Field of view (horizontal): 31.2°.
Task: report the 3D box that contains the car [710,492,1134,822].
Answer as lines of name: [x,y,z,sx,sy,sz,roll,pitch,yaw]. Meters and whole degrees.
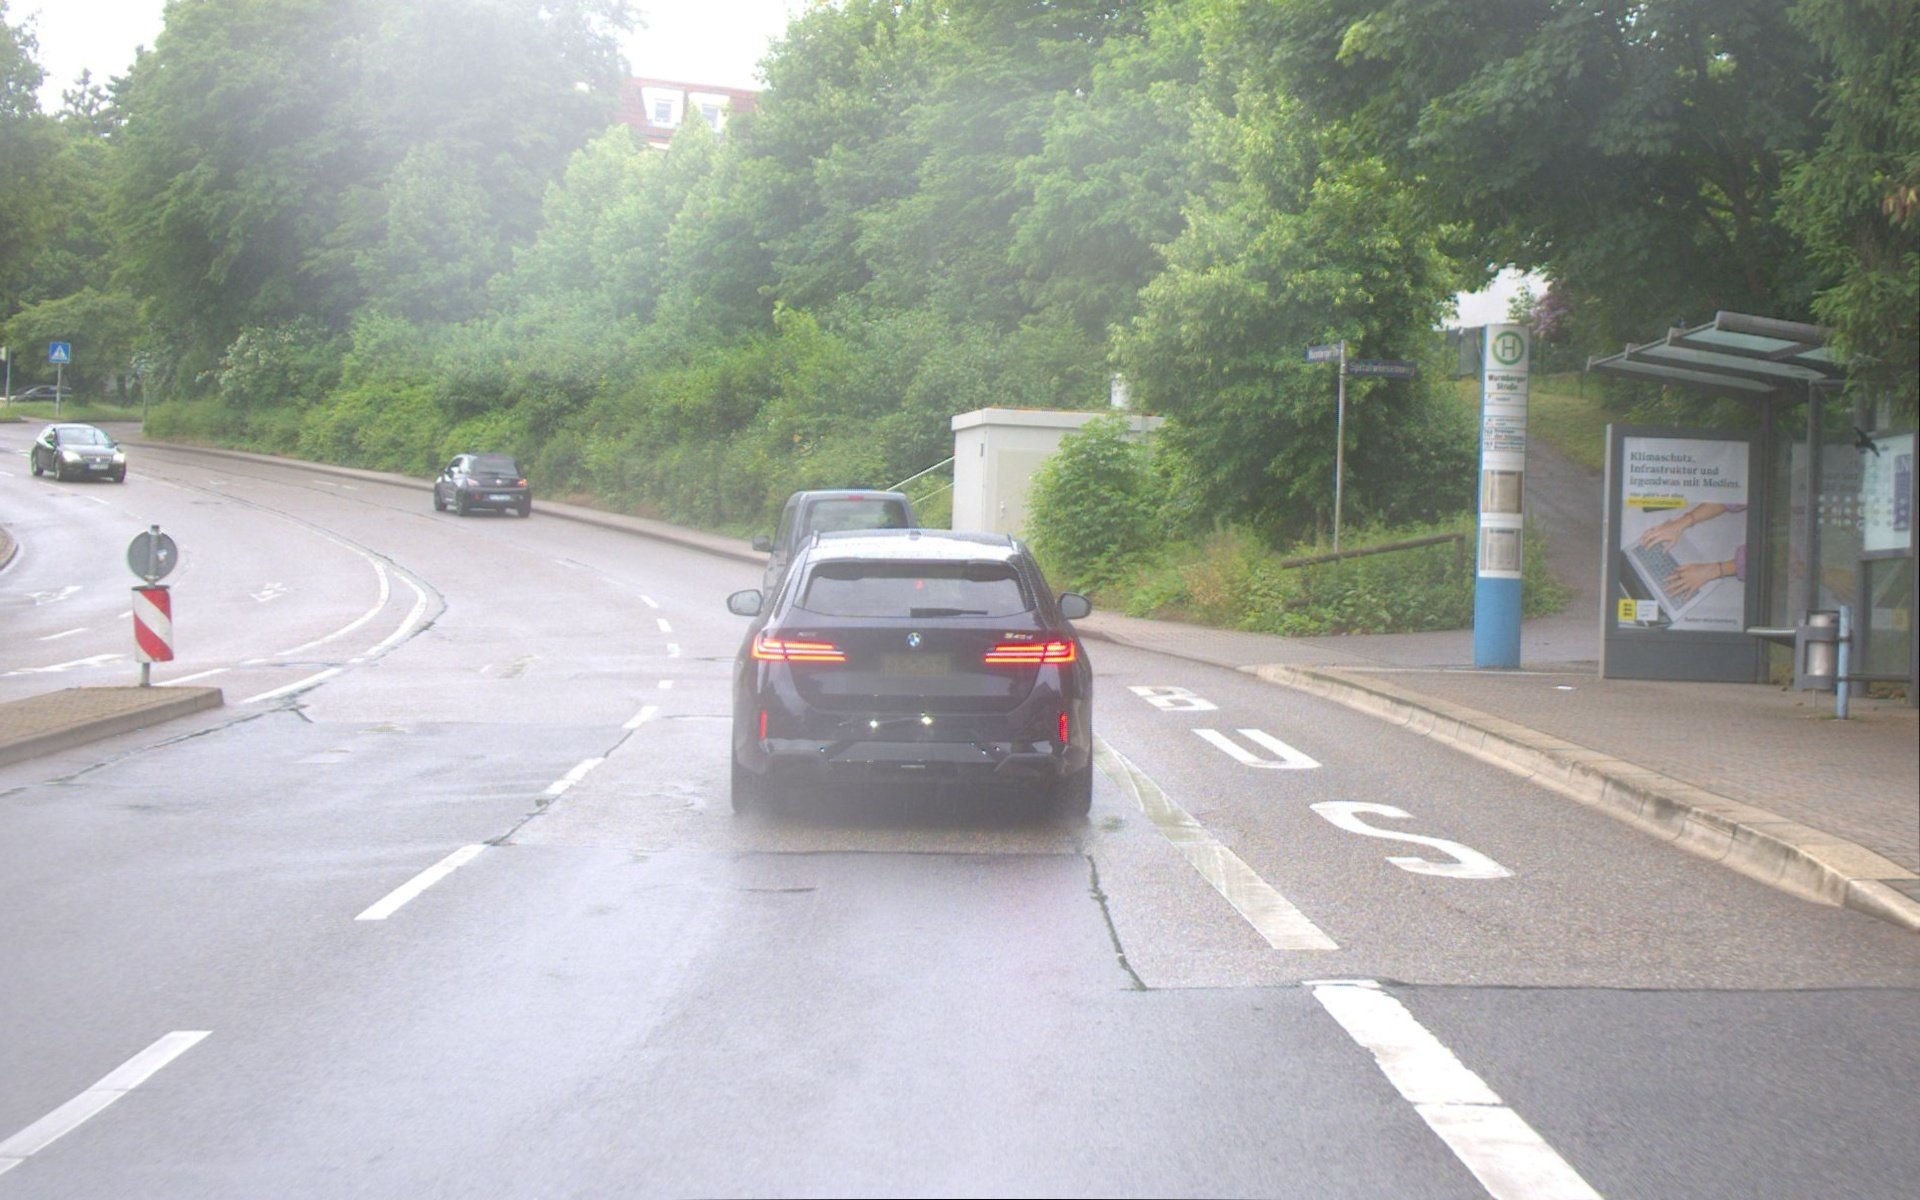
car: [-0.348,0.362,19.282,1.993,1.581,4.663,1,-2,-5]

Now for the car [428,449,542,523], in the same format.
car: [-11.387,-2.694,82.226,1.850,1.656,4.001,1,1,-20]

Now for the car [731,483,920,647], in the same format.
car: [-1.641,-0.457,40.606,1.993,1.742,4.001,0,3,-6]

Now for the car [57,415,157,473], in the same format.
car: [-22.814,-4.148,91.862,1.891,1.482,4.235,-1,2,-24]
